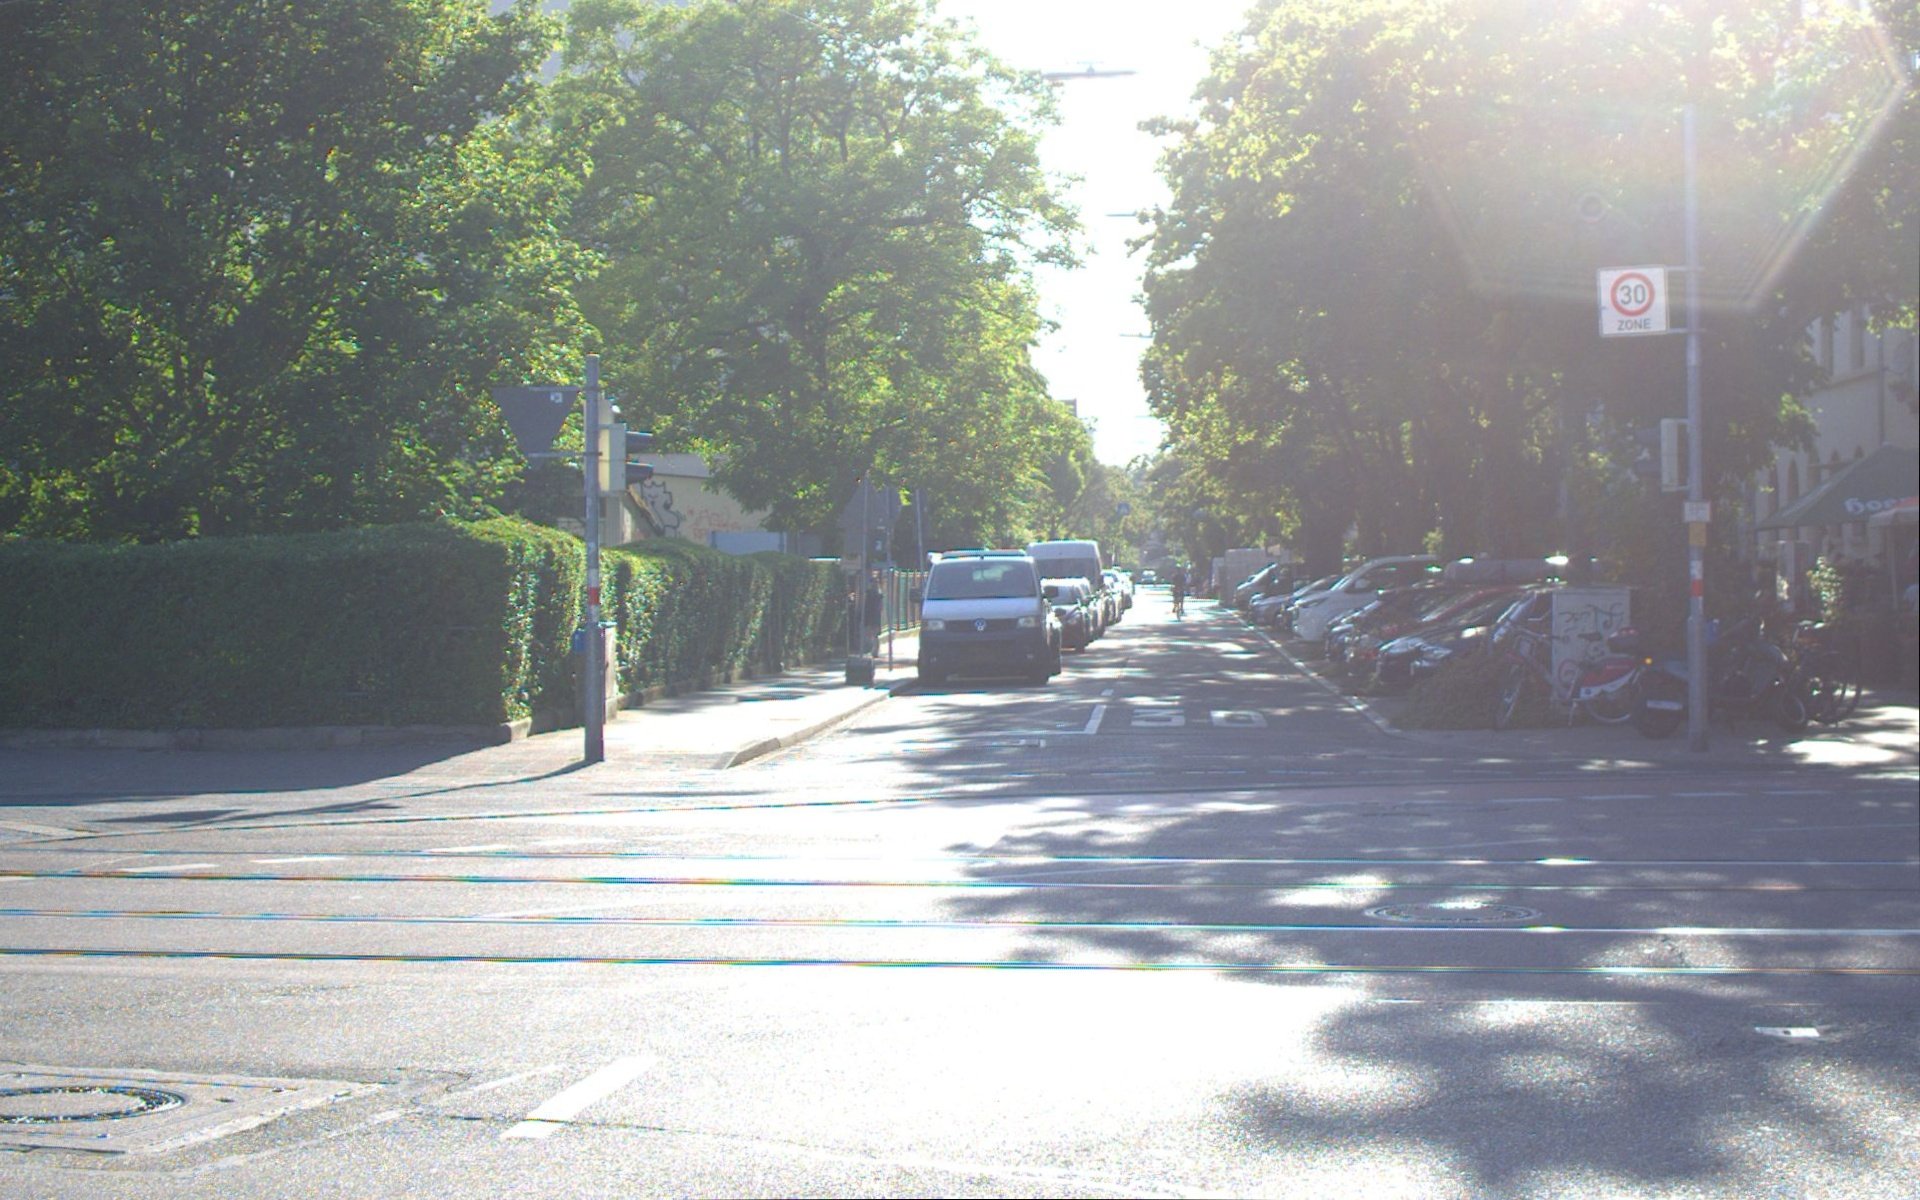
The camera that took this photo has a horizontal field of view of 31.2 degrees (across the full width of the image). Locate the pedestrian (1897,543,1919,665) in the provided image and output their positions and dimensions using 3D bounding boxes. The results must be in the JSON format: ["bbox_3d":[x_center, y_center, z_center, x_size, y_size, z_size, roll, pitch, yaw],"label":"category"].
[{"bbox_3d":[15.958,0.064,57.257,0.536,2.007,0.512,0,0,-4],"label":"pedestrian"}]

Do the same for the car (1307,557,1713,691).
[{"bbox_3d":[8.050,0.377,50.805,5.620,1.917,2.362,0,-1,0],"label":"car"}]

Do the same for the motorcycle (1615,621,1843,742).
[{"bbox_3d":[7.290,0.767,32.648,1.951,1.105,0.837,0,0,-2],"label":"motorcycle"}]

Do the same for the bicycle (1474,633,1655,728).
[{"bbox_3d":[6.097,0.808,34.727,1.723,0.929,0.672,0,0,3],"label":"bicycle"}]

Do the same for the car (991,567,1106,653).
[{"bbox_3d":[1.853,0.192,73.661,2.354,1.789,5.309,0,0,0],"label":"car"}]

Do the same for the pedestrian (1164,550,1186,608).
[{"bbox_3d":[7.392,-0.724,118.337,0.736,2.007,0.743,0,0,2],"label":"pedestrian"}]

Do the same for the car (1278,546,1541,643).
[{"bbox_3d":[9.198,-0.091,70.664,5.090,1.917,2.362,0,-1,0],"label":"car"}]

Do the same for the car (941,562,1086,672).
[{"bbox_3d":[0.886,0.265,58.576,2.354,1.789,5.309,0,0,0],"label":"car"}]

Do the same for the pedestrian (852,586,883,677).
[{"bbox_3d":[-1.763,0.595,65.464,0.579,1.725,0.608,0,0,-3],"label":"pedestrian"}]

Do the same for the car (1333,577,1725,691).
[{"bbox_3d":[7.911,0.488,48.217,5.090,1.552,2.362,0,-1,0],"label":"car"}]

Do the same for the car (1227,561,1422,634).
[{"bbox_3d":[9.965,-0.059,94.377,5.090,1.917,2.362,0,-1,0],"label":"car"}]

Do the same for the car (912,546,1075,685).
[{"bbox_3d":[0.487,0.209,52.379,2.354,2.007,5.309,0,0,0],"label":"car"}]

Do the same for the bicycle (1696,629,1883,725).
[{"bbox_3d":[8.220,0.760,34.098,1.723,0.929,0.562,0,0,3],"label":"bicycle"}]

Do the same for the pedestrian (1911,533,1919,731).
[{"bbox_3d":[8.866,0.280,30.695,0.691,1.744,0.794,0,0,18],"label":"pedestrian"}]

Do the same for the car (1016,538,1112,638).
[{"bbox_3d":[2.672,-0.321,89.513,2.354,2.506,5.309,0,0,0],"label":"car"}]

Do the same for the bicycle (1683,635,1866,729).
[{"bbox_3d":[8.253,0.826,34.865,1.723,0.929,0.562,0,0,3],"label":"bicycle"}]

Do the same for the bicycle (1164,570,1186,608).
[{"bbox_3d":[7.404,-0.382,118.378,0.766,1.319,1.923,0,0,3],"label":"bicycle"}]
